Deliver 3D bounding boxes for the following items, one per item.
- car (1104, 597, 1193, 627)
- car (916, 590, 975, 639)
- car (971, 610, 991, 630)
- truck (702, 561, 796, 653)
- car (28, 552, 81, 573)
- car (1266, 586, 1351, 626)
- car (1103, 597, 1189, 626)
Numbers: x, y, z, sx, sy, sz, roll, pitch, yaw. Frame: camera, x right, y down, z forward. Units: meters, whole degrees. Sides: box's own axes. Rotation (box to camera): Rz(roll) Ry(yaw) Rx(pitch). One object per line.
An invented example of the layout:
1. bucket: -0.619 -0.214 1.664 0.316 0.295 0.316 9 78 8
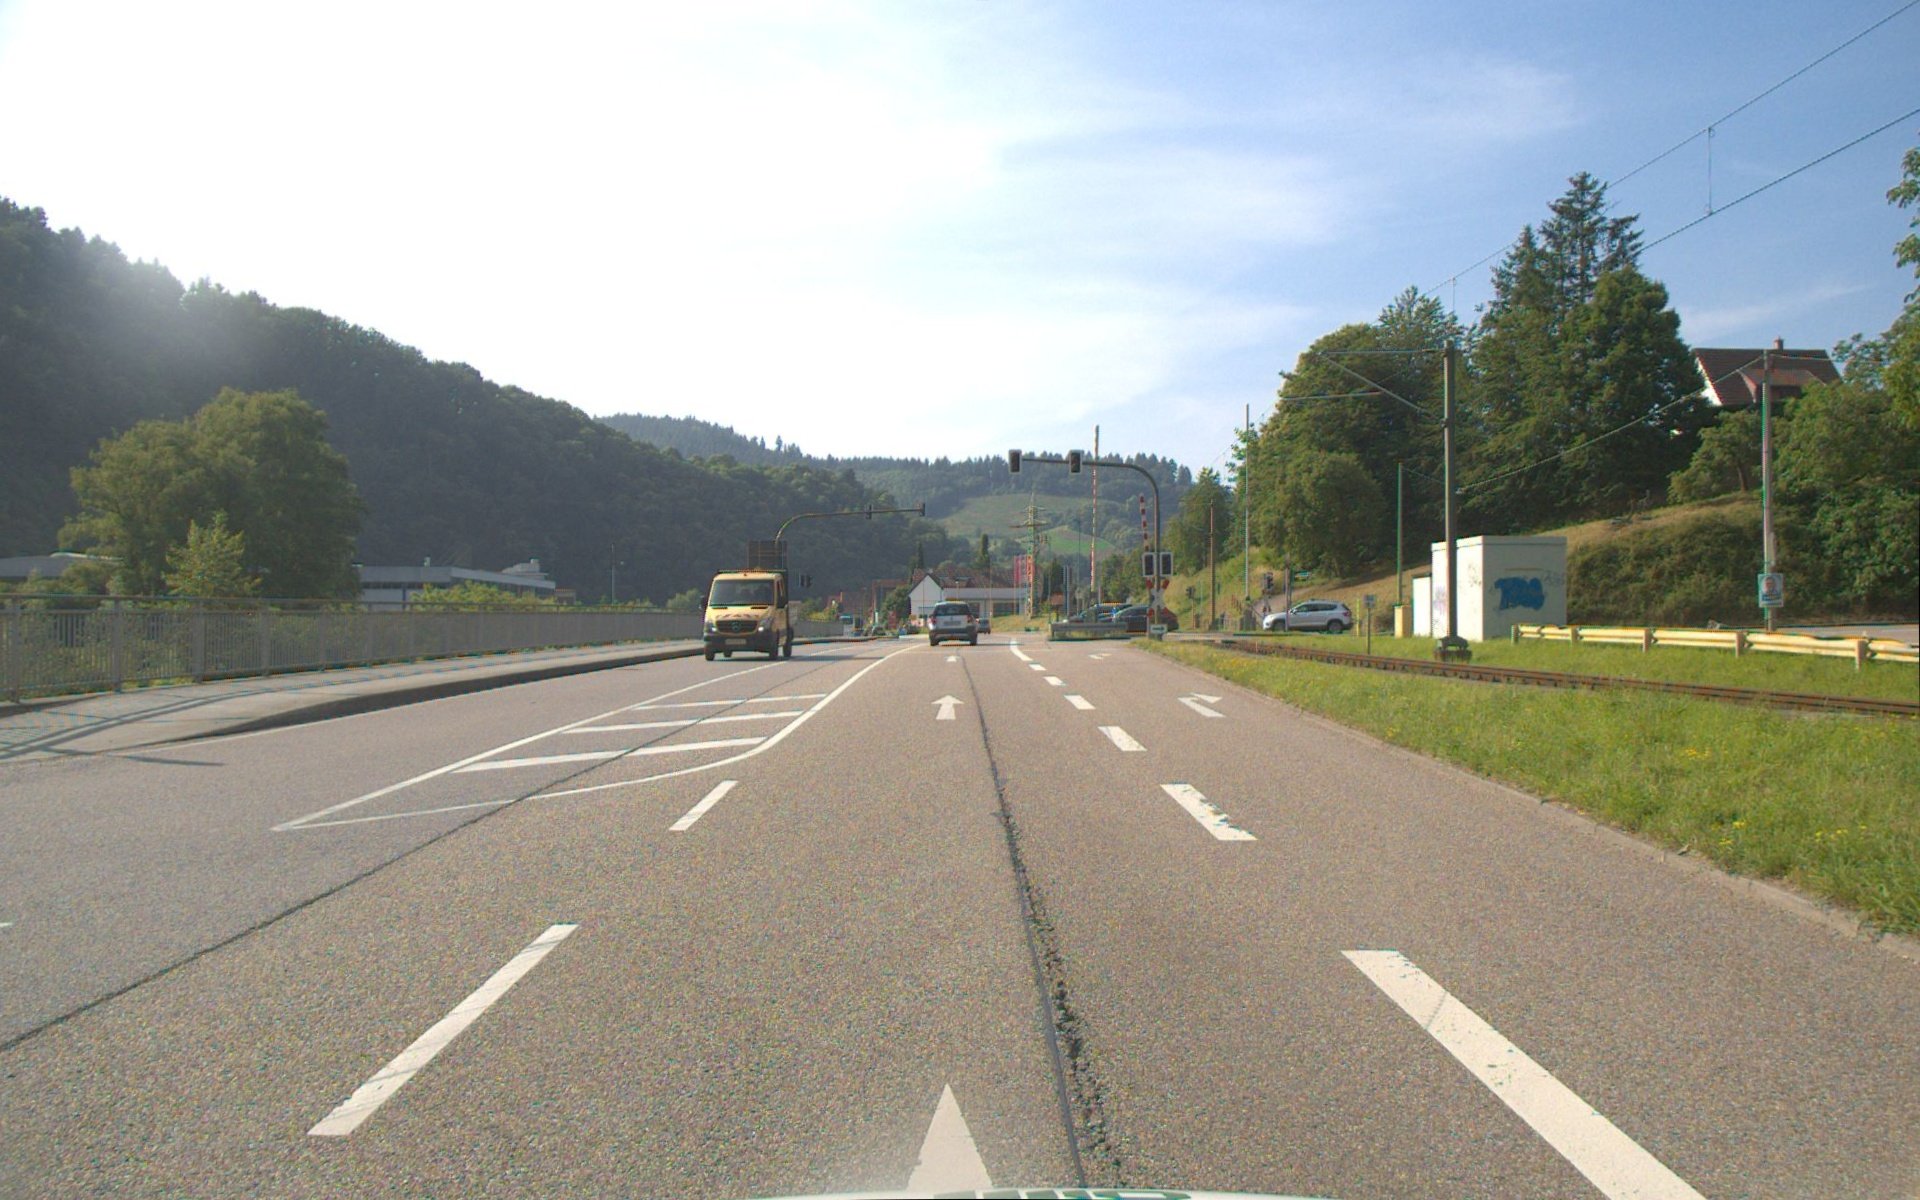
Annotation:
1. car: 8.876 0.573 77.795 3.902 1.378 1.879 0 0 14
2. car: -0.508 0.549 63.063 1.952 1.753 3.991 -2 0 3
3. car: 2.204 2.094 172.679 1.953 2.049 3.999 -1 0 -1
4. truck: -5.758 0.180 45.808 1.953 2.384 5.697 0 0 -1
5. car: -100.518 -4.167 183.645 4.645 2.049 1.998 -2 0 -4
6. car: 16.782 0.284 79.618 3.902 1.914 1.879 0 0 14
7. car: 9.055 0.550 80.335 3.902 1.378 1.879 0 0 14
